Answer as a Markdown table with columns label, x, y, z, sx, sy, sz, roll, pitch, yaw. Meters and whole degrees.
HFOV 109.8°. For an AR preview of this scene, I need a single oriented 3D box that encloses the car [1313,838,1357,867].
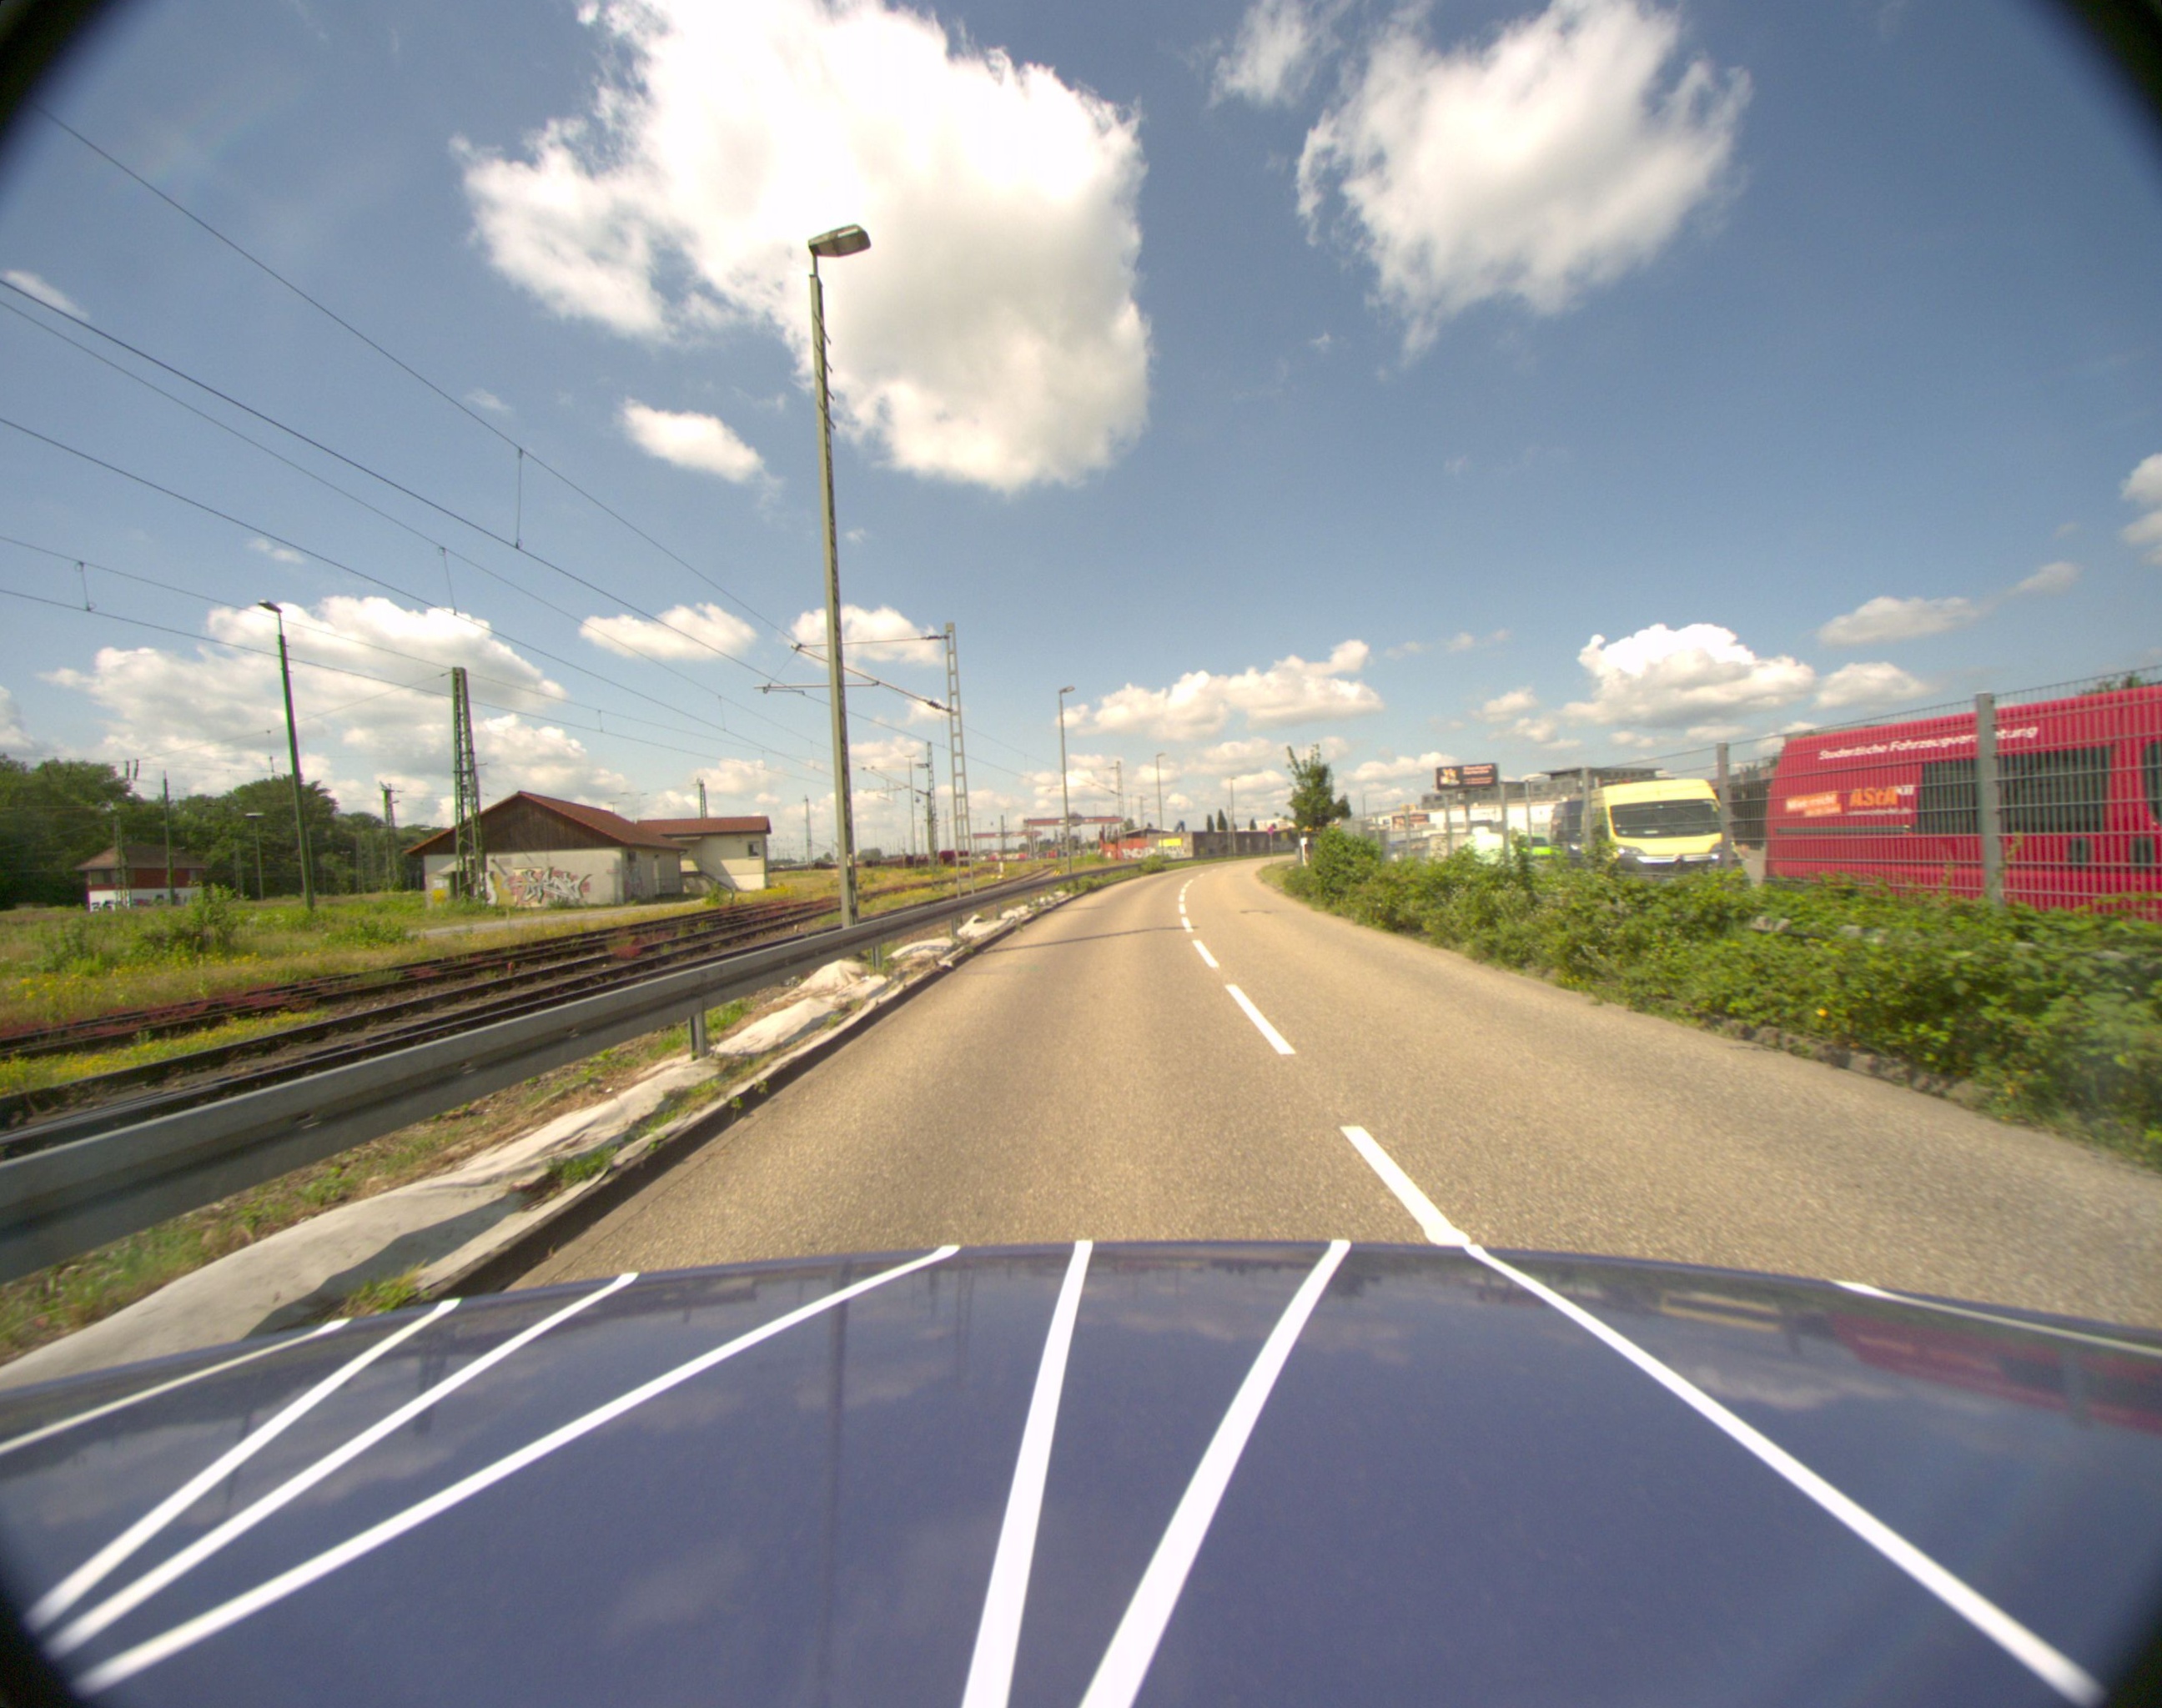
| label | x | y | z | sx | sy | sz | roll | pitch | yaw |
| --- | --- | --- | --- | --- | --- | --- | --- | --- | --- |
| car | 15.143 | -0.090 | 45.125 | 1.932 | 1.508 | 4.783 | -3 | -1 | 25 |

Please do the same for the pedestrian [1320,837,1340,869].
| label | x | y | z | sx | sy | sz | roll | pitch | yaw |
| --- | --- | --- | --- | --- | --- | --- | --- | --- | --- |
| pedestrian | 12.251 | -0.052 | 37.405 | 0.738 | 1.533 | 0.817 | -2 | 2 | 27 |

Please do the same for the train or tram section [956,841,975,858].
| label | x | y | z | sx | sy | sz | roll | pitch | yaw |
| --- | --- | --- | --- | --- | --- | --- | --- | --- | --- |
| train or tram section | -27.223 | -1.014 | 178.282 | 3.207 | 3.695 | 12.538 | -3 | 0 | -13 |

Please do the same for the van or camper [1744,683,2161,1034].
| label | x | y | z | sx | sy | sz | roll | pitch | yaw |
| --- | --- | --- | --- | --- | --- | --- | --- | --- | --- |
| van or camper | 8.823 | 0.021 | 6.126 | 2.193 | 2.499 | 5.703 | 0 | 0 | 3 |

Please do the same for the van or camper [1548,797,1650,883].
| label | x | y | z | sx | sy | sz | roll | pitch | yaw |
| --- | --- | --- | --- | --- | --- | --- | --- | --- | --- |
| van or camper | 15.138 | -0.434 | 22.458 | 1.876 | 2.204 | 5.116 | -2 | 1 | 28 |

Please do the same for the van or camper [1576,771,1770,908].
| label | x | y | z | sx | sy | sz | roll | pitch | yaw |
| --- | --- | --- | --- | --- | --- | --- | --- | --- | --- |
| van or camper | 12.370 | -0.314 | 16.375 | 2.244 | 2.411 | 5.668 | -2 | 1 | 27 |

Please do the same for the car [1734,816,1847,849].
| label | x | y | z | sx | sy | sz | roll | pitch | yaw |
| --- | --- | --- | --- | --- | --- | --- | --- | --- | --- |
| car | 38.130 | -1.126 | 40.974 | 3.990 | 1.553 | 2.003 | -2 | 1 | 24 |

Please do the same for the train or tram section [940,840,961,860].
| label | x | y | z | sx | sy | sz | roll | pitch | yaw |
| --- | --- | --- | --- | --- | --- | --- | --- | --- | --- |
| train or tram section | -26.547 | -0.689 | 154.450 | 3.303 | 3.695 | 12.538 | -3 | 0 | -13 |

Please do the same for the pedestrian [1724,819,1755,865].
| label | x | y | z | sx | sy | sz | roll | pitch | yaw |
| --- | --- | --- | --- | --- | --- | --- | --- | --- | --- |
| pedestrian | 25.576 | -0.478 | 29.524 | 0.693 | 1.739 | 0.746 | -2 | 2 | 26 |
